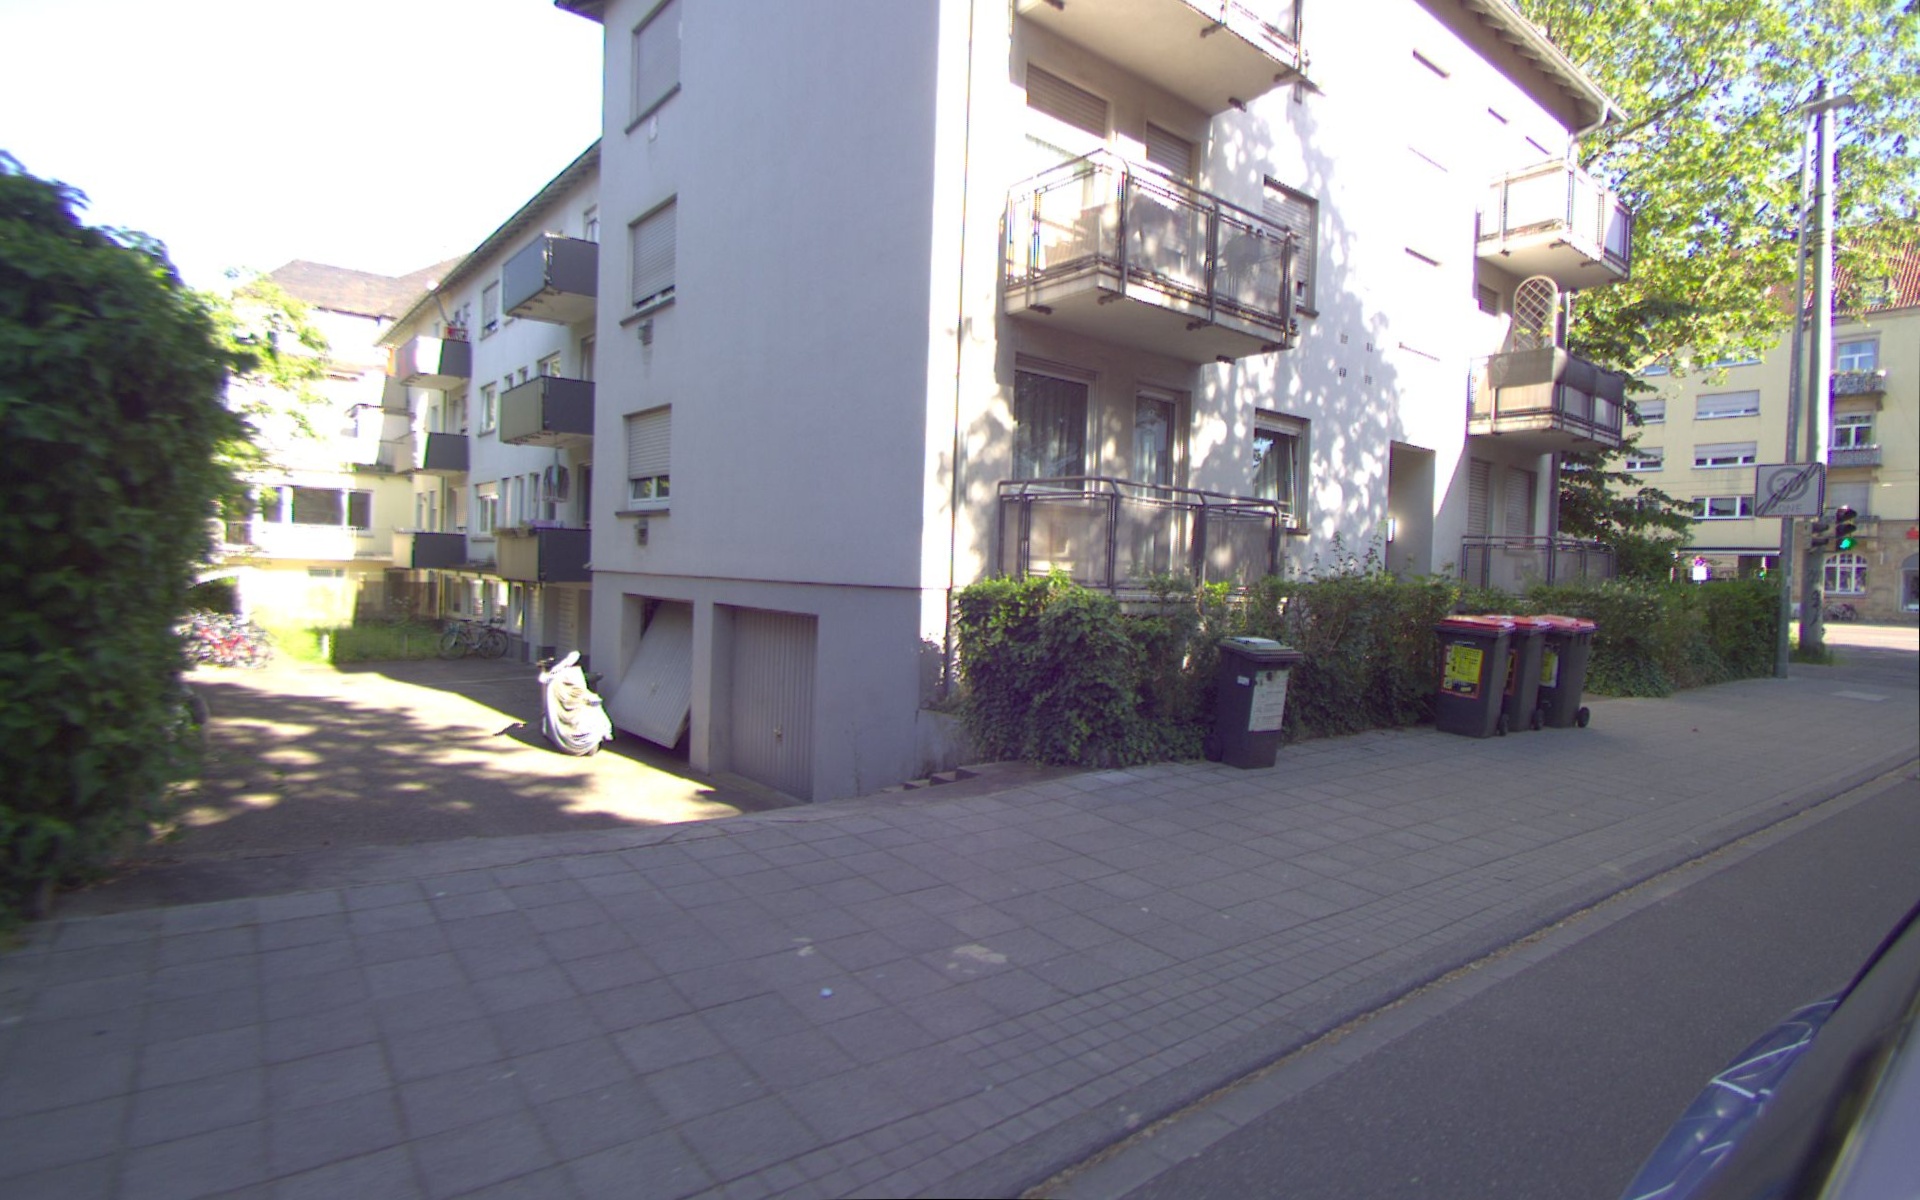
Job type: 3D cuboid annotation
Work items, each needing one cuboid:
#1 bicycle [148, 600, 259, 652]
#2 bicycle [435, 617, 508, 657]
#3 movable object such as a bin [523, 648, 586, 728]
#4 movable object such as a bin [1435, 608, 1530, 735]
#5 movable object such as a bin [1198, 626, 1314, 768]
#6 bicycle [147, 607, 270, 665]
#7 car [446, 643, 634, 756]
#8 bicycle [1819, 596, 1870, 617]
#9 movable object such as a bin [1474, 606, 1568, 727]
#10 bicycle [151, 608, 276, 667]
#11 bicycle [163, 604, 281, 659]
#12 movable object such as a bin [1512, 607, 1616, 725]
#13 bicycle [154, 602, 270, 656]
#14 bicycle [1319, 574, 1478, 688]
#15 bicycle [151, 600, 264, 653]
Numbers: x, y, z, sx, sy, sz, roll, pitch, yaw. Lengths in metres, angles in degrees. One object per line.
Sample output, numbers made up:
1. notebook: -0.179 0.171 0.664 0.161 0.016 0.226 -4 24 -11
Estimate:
1. bicycle: -18.482 0.623 24.761 0.497 1.211 2.100 0 -1 41
2. bicycle: -12.607 0.939 26.139 1.615 0.994 0.455 2 -1 -39
3. movable object such as a bin: -6.234 1.333 15.565 0.655 1.148 0.661 0 -1 43
4. movable object such as a bin: 4.745 0.629 9.192 0.607 1.056 0.485 0 5 -39
5. movable object such as a bin: 2.160 0.686 7.408 0.562 0.926 0.505 1 5 -35
6. bicycle: -16.541 0.783 22.327 0.497 1.211 2.100 0 -1 41
7. car: -5.694 1.295 13.662 2.707 1.316 0.652 1 -1 24
8. bicycle: 46.436 0.326 53.154 0.507 0.987 1.952 -2 4 -38
9. movable object such as a bin: 5.333 0.612 9.625 0.645 1.056 0.485 0 5 -39
10. bicycle: -16.108 0.788 21.896 0.497 1.211 2.100 0 -1 41
11. bicycle: -16.918 0.705 23.250 0.497 1.211 2.100 0 -1 41
12. movable object such as a bin: 6.011 0.632 10.075 0.694 1.056 0.599 0 6 -39
13. bicycle: -17.405 0.673 23.611 0.497 1.211 2.100 0 -1 41
14. bicycle: 5.265 0.357 12.232 1.553 1.200 0.643 4 3 10
15. bicycle: -17.994 0.628 24.244 0.497 1.211 2.100 0 -1 41
